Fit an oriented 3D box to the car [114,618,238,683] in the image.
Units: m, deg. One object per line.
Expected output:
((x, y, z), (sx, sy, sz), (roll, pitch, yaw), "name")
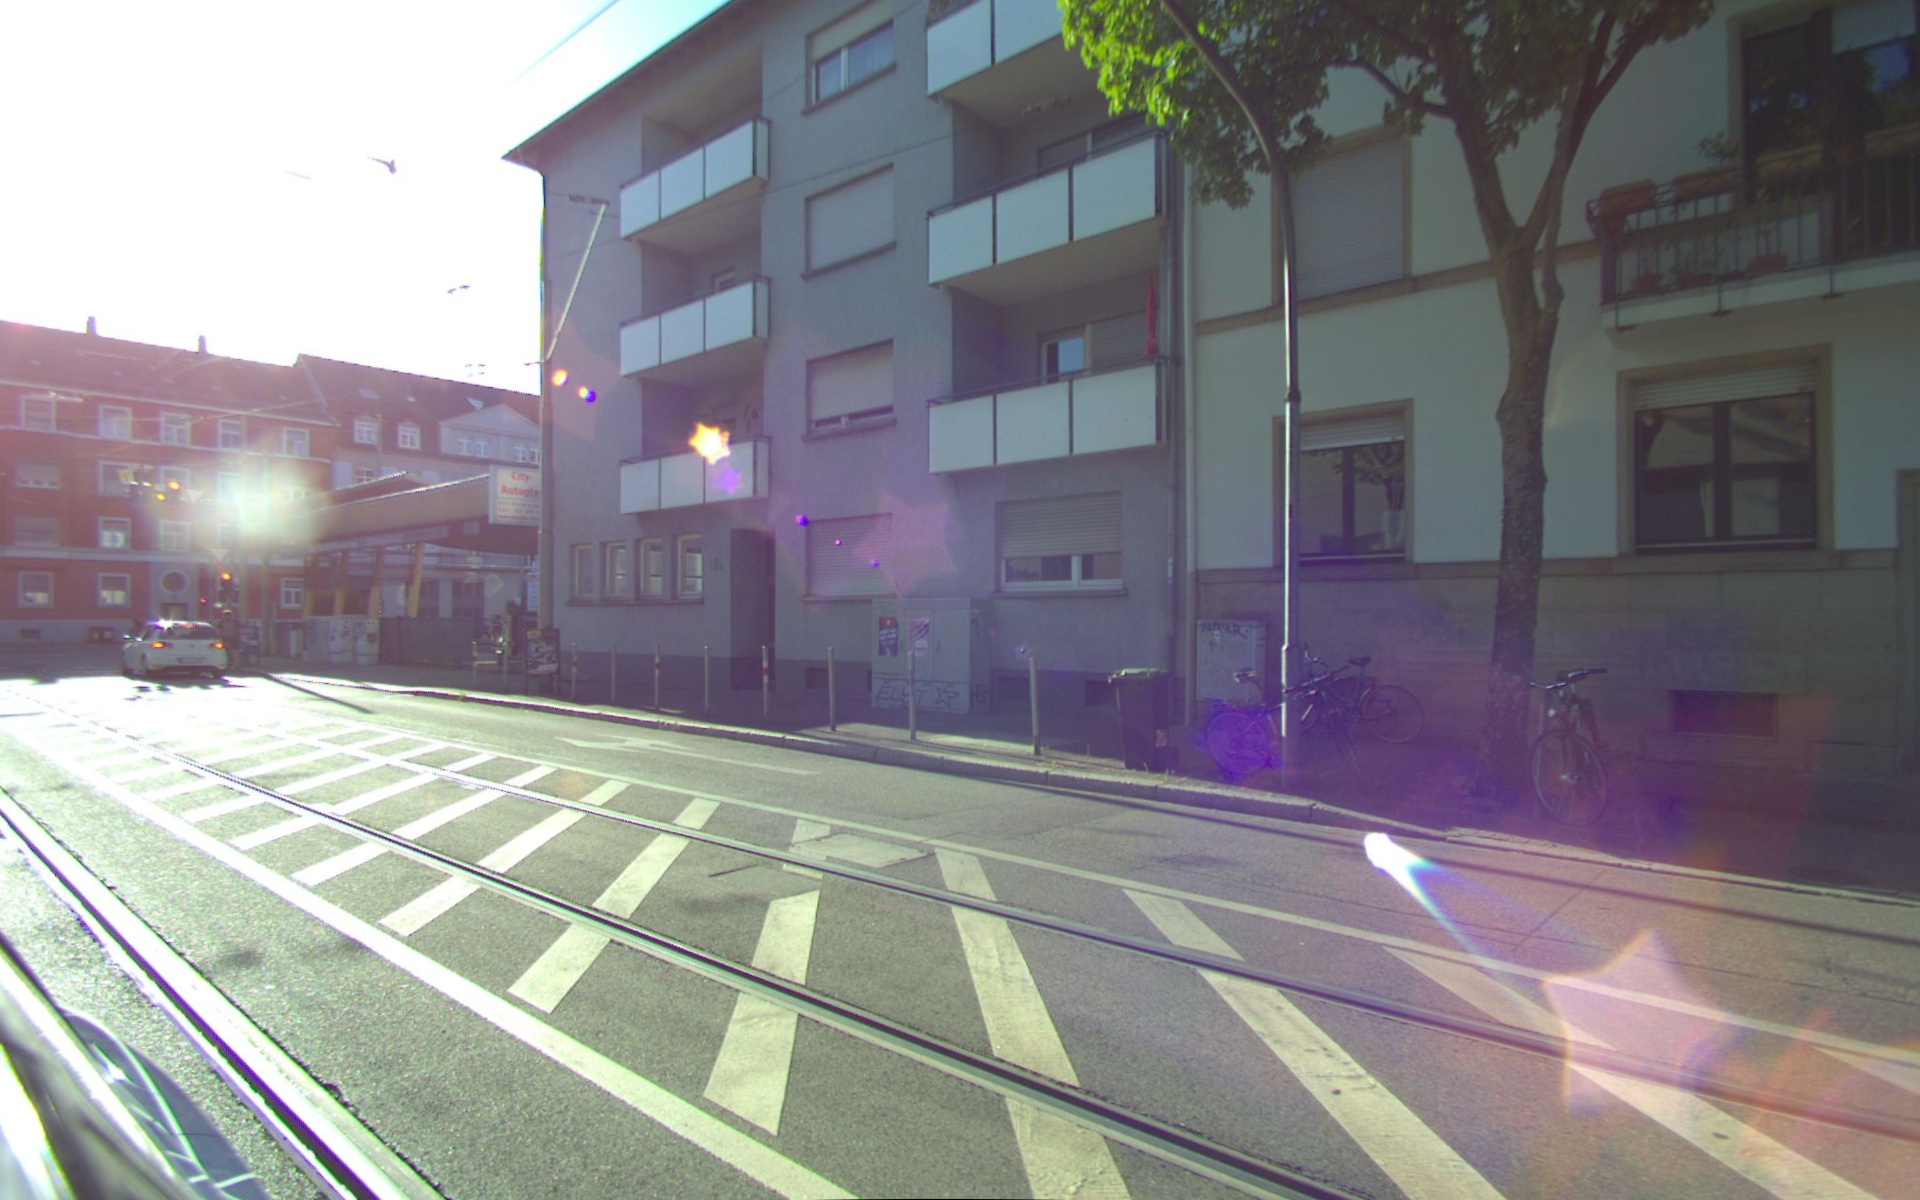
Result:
((-20.912, 1.285, 26.933), (3.998, 1.536, 1.898), (-1, 0, 41), "car")

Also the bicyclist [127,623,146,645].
((-46.928, 1.918, 57.684), (0.660, 1.233, 0.553), (-1, 0, 4), "bicyclist")

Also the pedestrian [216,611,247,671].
((-22.110, 1.225, 30.710), (0.583, 1.787, 0.631), (-1, 0, 41), "pedestrian")

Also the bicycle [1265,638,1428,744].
((4.198, 0.958, 11.082), (1.661, 1.050, 0.300), (-1, 0, 41), "bicycle")

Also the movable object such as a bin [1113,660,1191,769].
((1.798, 1.052, 9.476), (0.582, 0.942, 0.420), (-1, 0, 41), "movable object such as a bin")

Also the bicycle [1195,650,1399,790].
((2.831, 0.978, 8.632), (1.661, 1.050, 0.300), (-1, 0, 41), "bicycle")

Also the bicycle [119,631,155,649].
((-46.916, 2.288, 57.678), (1.656, 0.956, 0.553), (-1, 0, 5), "bicycle")

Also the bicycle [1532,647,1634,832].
((4.604, 0.971, 7.449), (0.409, 1.178, 1.326), (-1, 0, 41), "bicycle")
